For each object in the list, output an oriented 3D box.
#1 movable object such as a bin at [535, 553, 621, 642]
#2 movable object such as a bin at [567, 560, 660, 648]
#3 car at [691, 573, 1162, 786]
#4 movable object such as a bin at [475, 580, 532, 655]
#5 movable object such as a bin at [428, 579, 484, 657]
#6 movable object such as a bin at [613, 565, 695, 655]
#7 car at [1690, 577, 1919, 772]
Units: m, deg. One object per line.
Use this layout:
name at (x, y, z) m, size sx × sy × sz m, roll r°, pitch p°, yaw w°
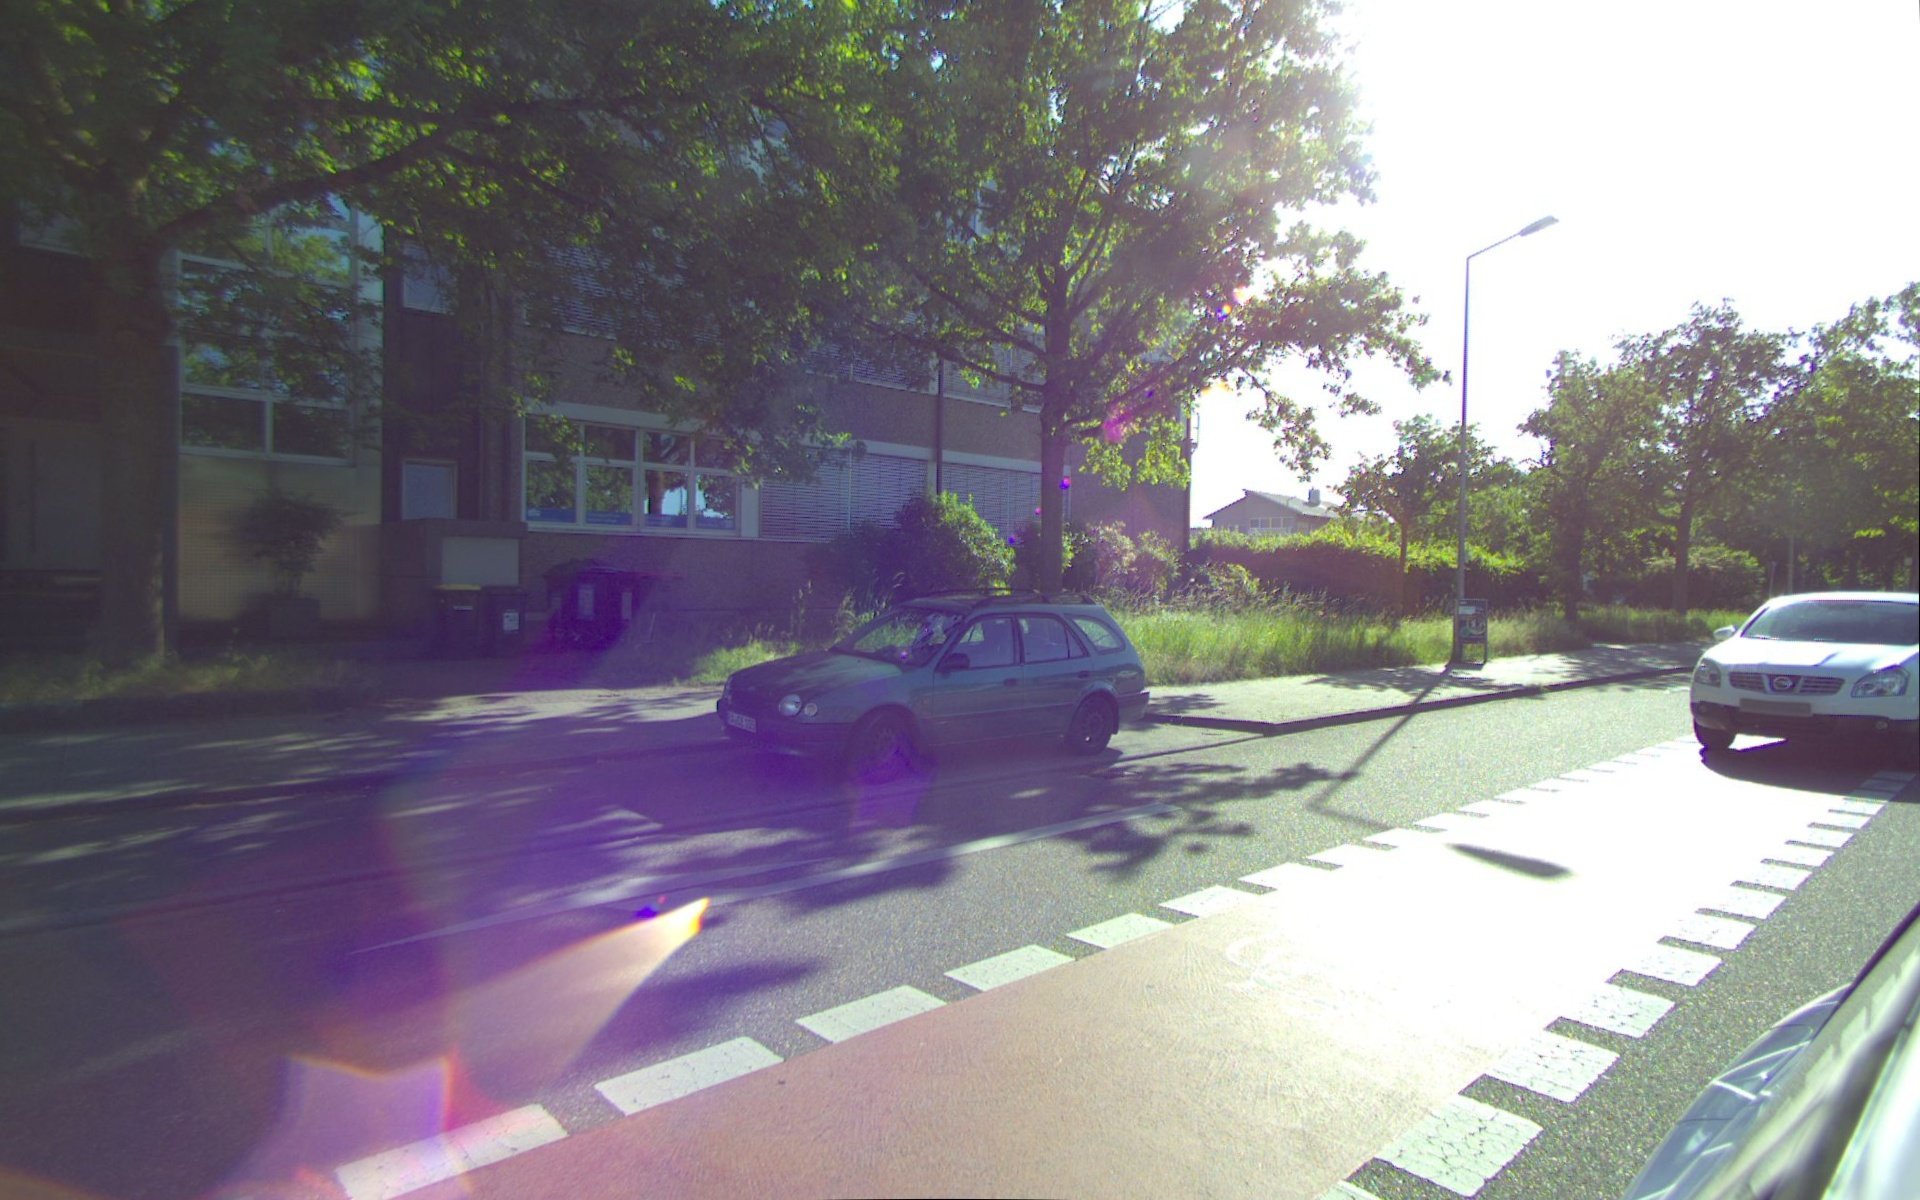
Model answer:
movable object such as a bin at (-6.778, -0.072, 17.931) m, size 1.024 × 1.501 × 1.309 m, roll 0°, pitch 2°, yaw -41°
movable object such as a bin at (-5.768, 0.045, 16.851) m, size 1.070 × 1.388 × 1.186 m, roll 0°, pitch 2°, yaw -43°
car at (-0.143, 0.575, 9.122) m, size 4.068 × 1.487 × 1.705 m, roll 1°, pitch 1°, yaw -41°
movable object such as a bin at (-6.756, 0.242, 14.968) m, size 0.604 × 1.075 × 0.634 m, roll 0°, pitch 1°, yaw -42°
movable object such as a bin at (-7.212, 0.247, 14.487) m, size 0.575 × 1.070 × 0.625 m, roll 0°, pitch 1°, yaw -42°
movable object such as a bin at (-4.778, 0.127, 15.764) m, size 0.878 × 1.323 × 1.186 m, roll 0°, pitch 2°, yaw -37°
car at (9.219, 0.609, 10.271) m, size 3.990 × 1.627 × 1.723 m, roll 0°, pitch 0°, yaw -35°
